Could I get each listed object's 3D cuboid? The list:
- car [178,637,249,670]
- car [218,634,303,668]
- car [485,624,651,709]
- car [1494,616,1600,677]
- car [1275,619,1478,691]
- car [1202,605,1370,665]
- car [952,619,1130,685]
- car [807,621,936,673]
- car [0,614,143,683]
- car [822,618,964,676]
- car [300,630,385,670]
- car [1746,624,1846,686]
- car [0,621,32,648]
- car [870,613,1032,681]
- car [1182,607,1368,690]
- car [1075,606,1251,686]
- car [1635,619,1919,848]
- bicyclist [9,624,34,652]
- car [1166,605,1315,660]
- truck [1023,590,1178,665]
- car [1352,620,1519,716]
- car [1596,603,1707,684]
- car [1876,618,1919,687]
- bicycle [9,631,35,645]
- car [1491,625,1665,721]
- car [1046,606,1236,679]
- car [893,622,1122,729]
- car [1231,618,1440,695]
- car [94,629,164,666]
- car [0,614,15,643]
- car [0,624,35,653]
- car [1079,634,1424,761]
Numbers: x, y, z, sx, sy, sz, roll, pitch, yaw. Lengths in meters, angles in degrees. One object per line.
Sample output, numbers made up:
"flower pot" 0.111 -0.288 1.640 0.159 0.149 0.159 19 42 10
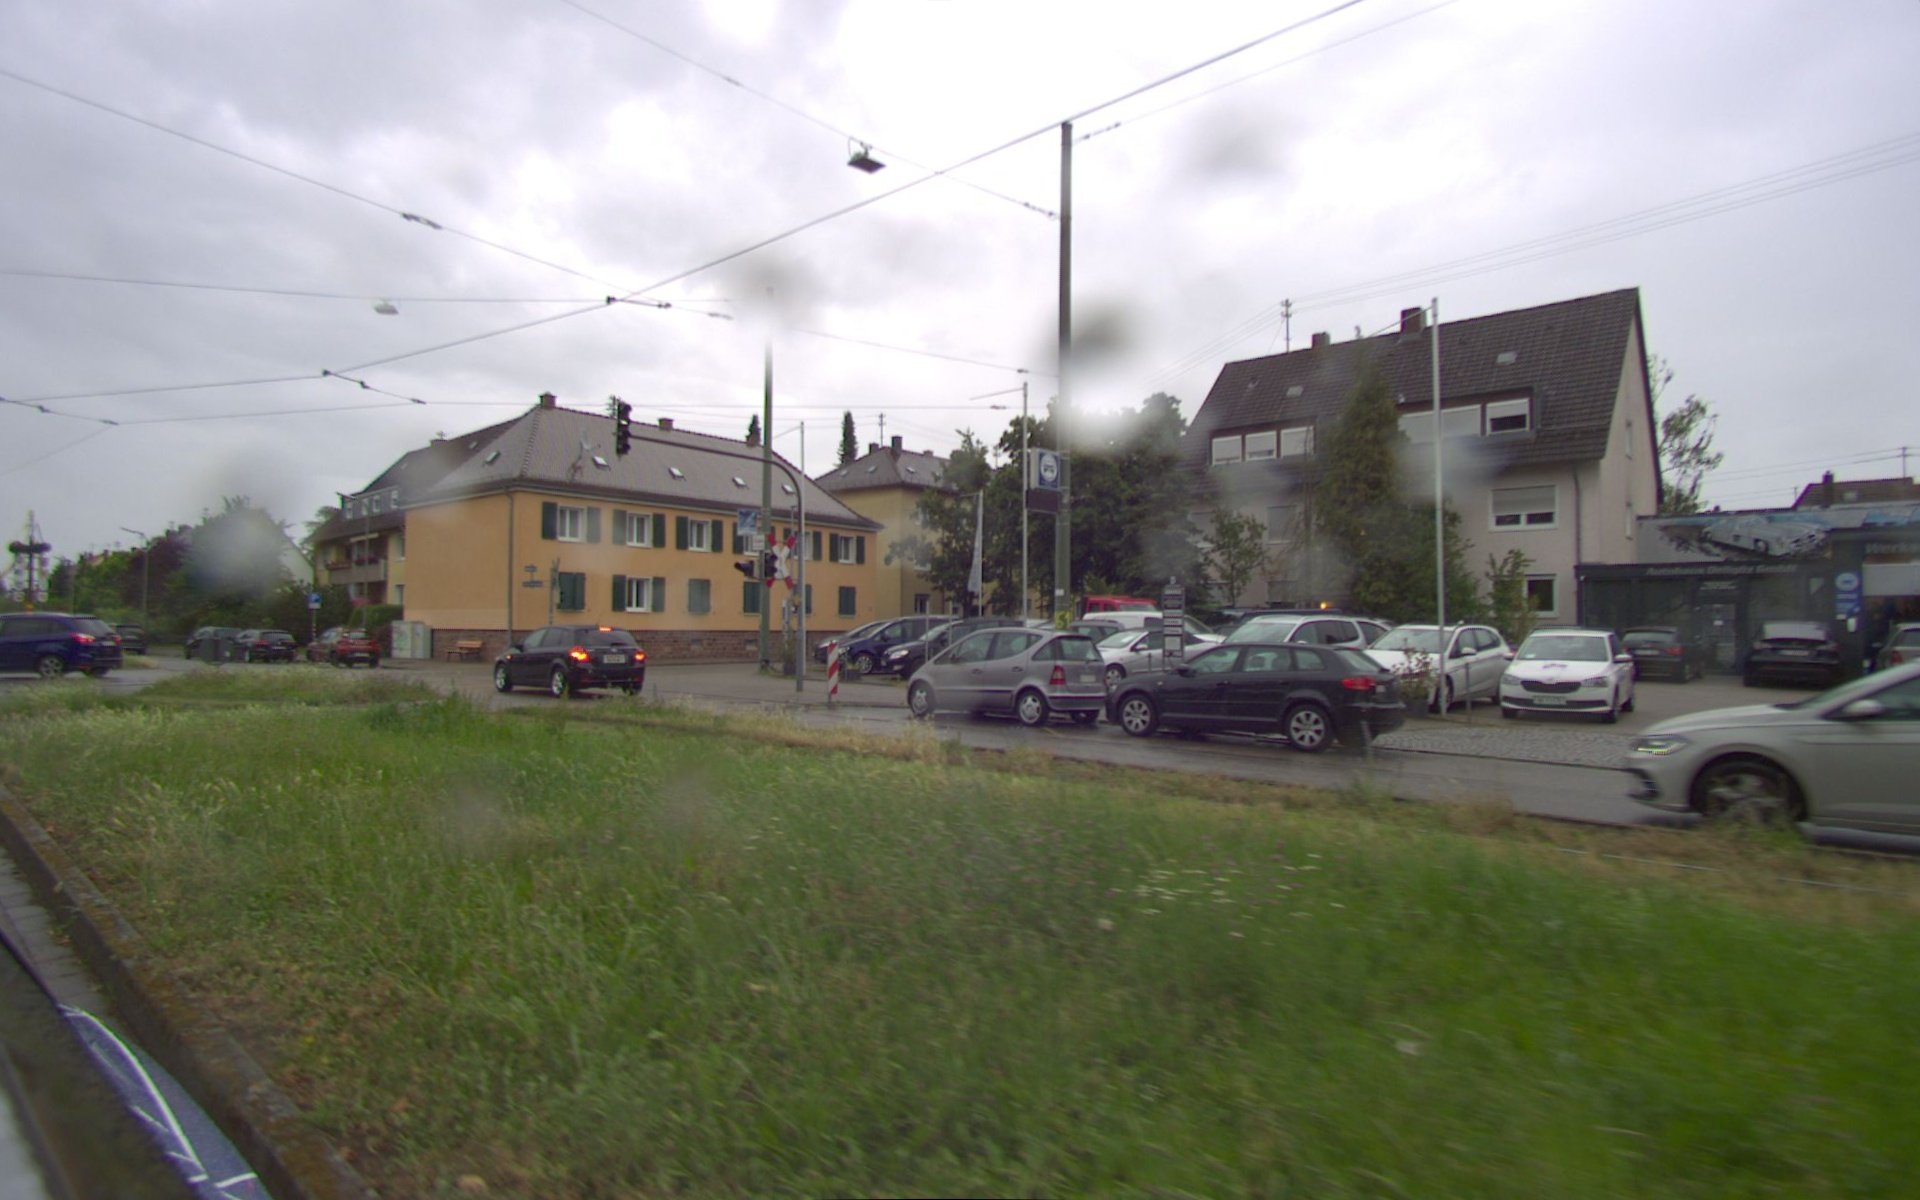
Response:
"car" -35.731 2.532 48.409 3.996 1.342 1.737 1 -1 39
"car" -30.934 2.225 44.716 4.502 1.407 1.941 -1 -2 40
"car" -8.347 1.323 21.398 4.001 1.497 1.717 1 -1 44
"car" 16.715 1.276 28.748 1.998 1.577 3.842 0 -1 40
"car" 10.695 1.387 26.206 4.448 1.700 1.971 -2 -4 44
"car" 9.792 1.078 30.626 4.448 1.700 1.971 -2 -4 44
"car" 1.998 1.291 25.265 3.988 1.516 1.839 2 -1 -20
"car" -2.830 1.467 32.105 3.806 1.591 1.813 0 -2 -16
"car" -24.076 1.203 25.906 4.500 1.617 2.004 2 -1 -8
"car" -1.979 1.351 29.397 3.806 1.591 1.813 0 -2 -16
"car" -23.822 1.906 39.019 3.614 1.349 1.700 1 -1 40
"car" 20.446 1.304 24.840 1.758 1.342 3.948 1 -1 38
"car" -70.986 2.545 75.614 3.998 1.807 1.973 1 -1 40
"car" -0.276 1.247 27.207 3.932 1.730 2.006 1 -3 -16
"car" 6.624 0.995 21.188 3.808 1.591 1.811 1 -3 -37
"car" 5.567 1.271 28.075 4.448 2.029 1.971 -2 -4 44
"car" 7.037 0.916 6.918 3.820 1.434 1.583 1 -1 43
"bicyclist" -55.705 2.260 60.087 1.041 1.610 0.937 -3 -3 40
"car" 9.346 1.108 33.954 4.448 1.700 1.971 -2 -4 44
"truck" 4.594 0.980 34.353 1.965 2.289 6.122 2 -3 -28
"car" 9.053 1.215 19.153 3.563 1.585 1.724 2 -1 -45
"car" 18.486 1.076 27.008 2.000 1.793 3.558 1 3 42
"car" 22.697 1.224 23.539 1.785 1.509 3.948 1 -1 39
"bicycle" -55.693 2.276 60.082 1.818 0.792 0.930 -2 -3 40
"car" 10.762 1.189 17.520 1.724 1.406 3.785 1 -1 45
"car" 4.139 0.949 23.016 3.989 1.516 1.839 2 -1 -31
"car" 0.748 1.198 17.283 3.644 1.516 1.699 1 -1 43
"car" 9.037 1.341 24.603 4.448 1.700 1.735 -2 -4 44
"car" -46.508 2.622 56.626 3.991 1.807 1.976 1 -1 35
"car" -50.341 1.487 52.121 3.997 1.487 1.973 -2 -3 41
"car" -65.811 2.654 70.168 3.998 1.807 1.973 1 -1 40
"car" 3.973 1.248 14.315 4.389 1.349 1.698 1 -1 43
